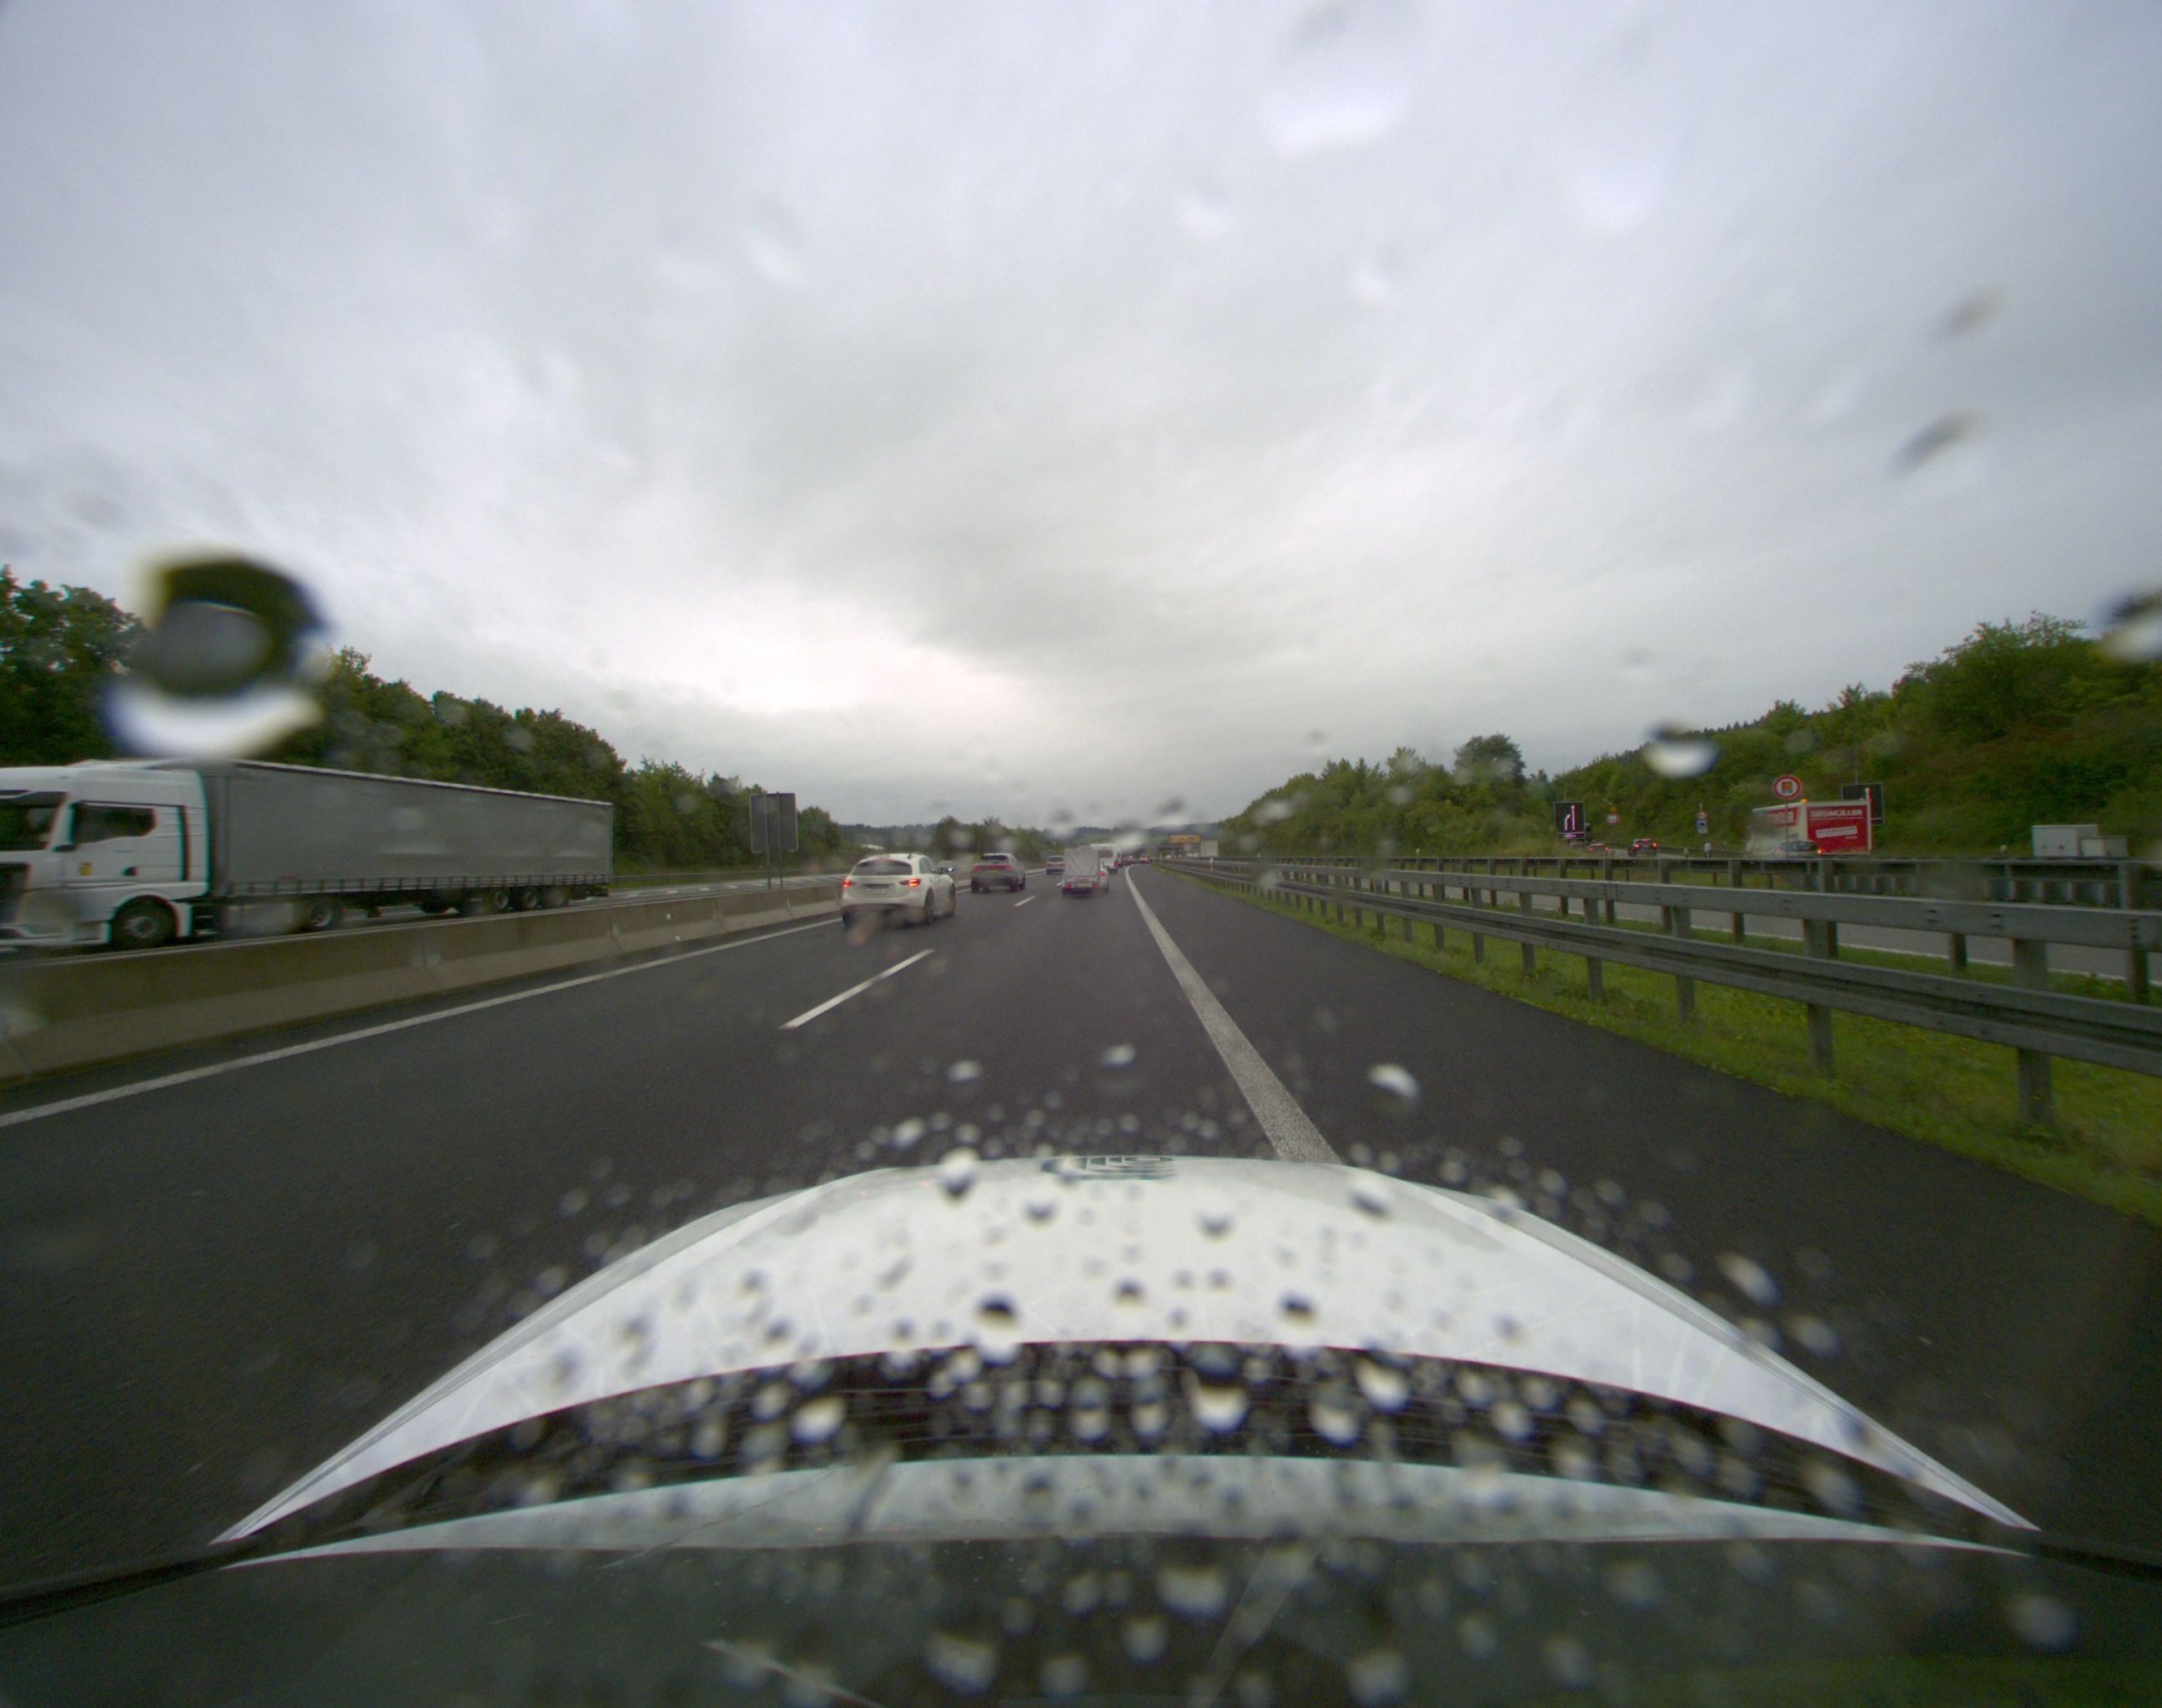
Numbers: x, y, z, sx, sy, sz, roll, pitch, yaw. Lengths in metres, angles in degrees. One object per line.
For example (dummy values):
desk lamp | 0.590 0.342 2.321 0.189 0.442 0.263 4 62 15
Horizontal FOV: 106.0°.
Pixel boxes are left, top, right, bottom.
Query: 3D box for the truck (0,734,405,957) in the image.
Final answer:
truck | -20.465 -0.130 18.740 3.246 4.083 7.447 -1 0 3

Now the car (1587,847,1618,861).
car | 54.895 -0.009 85.715 1.844 1.447 4.178 -2 0 20

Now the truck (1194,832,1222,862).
truck | 22.730 -1.197 145.981 4.074 5.103 10.477 -1 0 5

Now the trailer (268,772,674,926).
trailer | -19.904 -0.142 28.844 3.246 4.083 13.857 -1 0 3

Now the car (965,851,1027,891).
car | -3.749 0.720 36.774 2.166 1.631 4.501 -1 0 1

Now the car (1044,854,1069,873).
car | -2.185 0.814 72.780 1.893 1.613 4.019 -1 0 2

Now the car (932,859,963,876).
car | -12.162 1.221 74.406 1.893 1.405 4.382 -1 0 2

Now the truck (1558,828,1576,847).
truck | 75.908 -2.519 127.208 2.223 2.878 8.225 -1 0 31

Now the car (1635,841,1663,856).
car | 57.659 -0.582 82.689 1.842 1.447 4.183 -2 0 29

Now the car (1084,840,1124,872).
car | 2.049 0.162 70.340 3.002 2.616 6.084 -2 0 6

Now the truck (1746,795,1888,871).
truck | 37.237 -0.966 41.659 2.872 3.395 9.027 -1 0 25

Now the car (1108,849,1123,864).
car | 4.741 0.374 112.394 1.986 2.036 4.152 0 -1 1

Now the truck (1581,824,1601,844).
truck | 73.952 -2.884 118.133 2.416 2.704 5.604 -2 0 31

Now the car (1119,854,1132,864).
car | 7.566 0.826 138.326 1.984 1.750 4.005 0 -1 5

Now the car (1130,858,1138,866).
car | 12.602 1.931 193.689 1.984 1.750 4.005 0 -1 5

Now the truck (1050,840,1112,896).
truck | 0.147 0.507 32.907 2.010 1.985 7.219 -1 0 3

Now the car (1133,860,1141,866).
car | 15.884 2.618 230.841 1.983 1.750 4.007 -1 -1 6

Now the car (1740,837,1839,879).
car | 30.278 0.159 34.976 1.843 1.659 4.497 -2 0 22

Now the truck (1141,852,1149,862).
truck | 20.506 0.957 261.138 2.266 3.082 7.258 -1 -1 6

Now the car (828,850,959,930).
car | -4.327 0.779 19.550 1.969 1.639 4.501 -1 0 1
